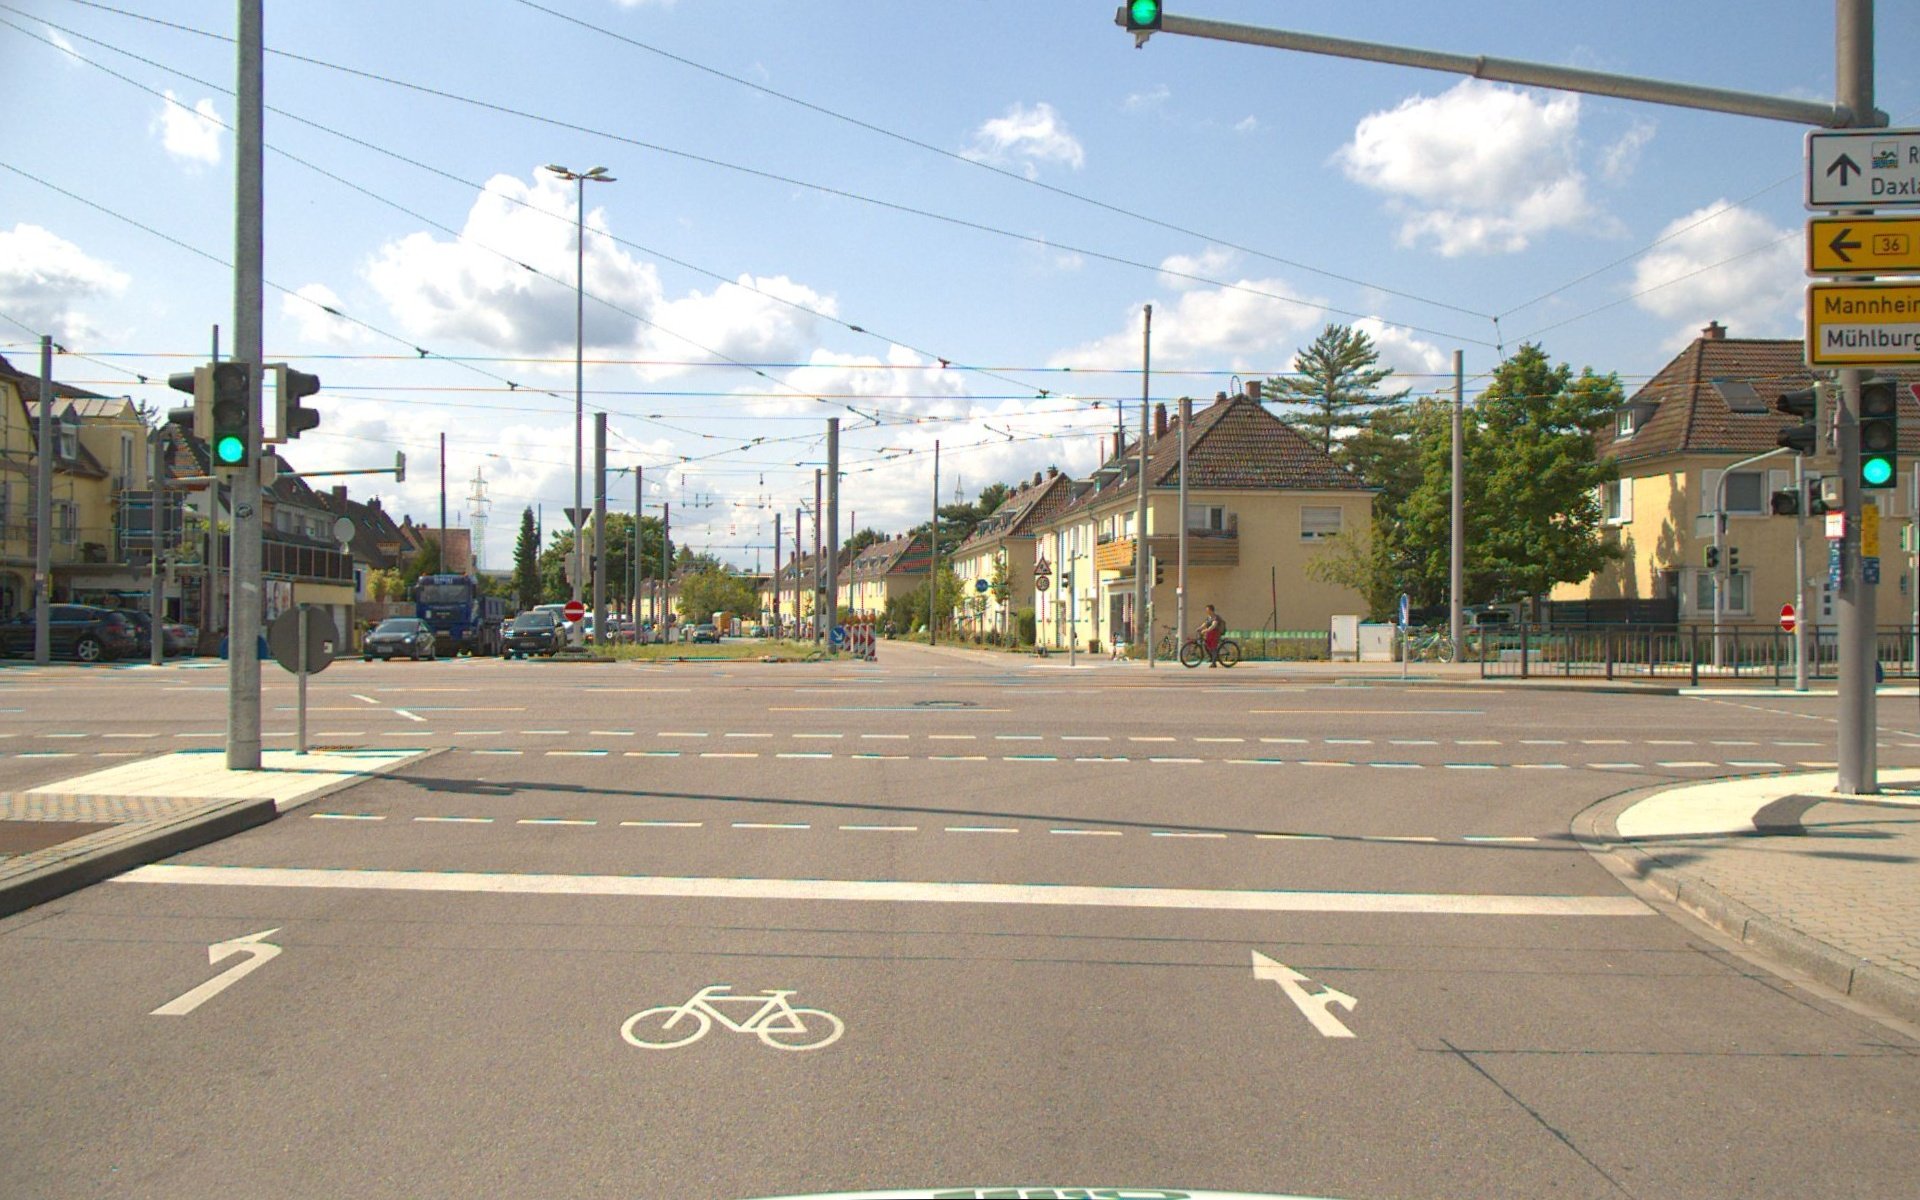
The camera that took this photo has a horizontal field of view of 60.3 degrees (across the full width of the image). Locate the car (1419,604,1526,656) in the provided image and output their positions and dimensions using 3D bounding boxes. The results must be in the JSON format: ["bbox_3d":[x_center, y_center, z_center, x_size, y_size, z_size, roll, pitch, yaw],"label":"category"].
[{"bbox_3d":[17.052,1.040,55.225,1.789,1.649,3.990,0,-2,-10],"label":"car"}]

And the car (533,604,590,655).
[{"bbox_3d":[-15.795,1.174,65.668,1.780,1.955,4.738,0,-1,-9],"label":"car"}]

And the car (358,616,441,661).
[{"bbox_3d":[-19.497,1.329,57.715,1.792,1.513,4.328,0,-1,-6],"label":"car"}]

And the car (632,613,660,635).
[{"bbox_3d":[-23.617,1.802,124.549,1.808,1.589,4.180,0,-1,-7],"label":"car"}]

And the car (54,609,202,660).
[{"bbox_3d":[-27.375,1.128,54.529,4.058,1.519,1.432,2,-1,-9],"label":"car"}]

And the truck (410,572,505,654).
[{"bbox_3d":[-20.928,0.593,69.303,2.717,3.244,7.566,0,-1,-9],"label":"truck"}]

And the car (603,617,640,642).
[{"bbox_3d":[-20.562,1.794,100.640,1.808,1.520,4.848,0,-1,-7],"label":"car"}]

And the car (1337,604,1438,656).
[{"bbox_3d":[14.291,1.040,55.548,1.789,1.649,3.990,0,-2,-10],"label":"car"}]

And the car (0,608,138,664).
[{"bbox_3d":[-26.822,1.059,49.150,4.058,1.519,1.177,2,-1,-9],"label":"car"}]

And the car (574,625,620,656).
[{"bbox_3d":[-17.628,1.946,80.446,1.879,1.444,3.992,0,-1,-9],"label":"car"}]

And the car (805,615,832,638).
[{"bbox_3d":[-13.448,2.536,156.983,2.028,2.187,4.866,0,-1,-10],"label":"car"}]

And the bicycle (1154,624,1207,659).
[{"bbox_3d":[7.304,1.370,54.852,0.586,1.116,2.258,1,-1,-26],"label":"bicycle"}]

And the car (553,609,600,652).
[{"bbox_3d":[-17.022,1.345,73.518,1.700,1.813,4.396,0,-1,-9],"label":"car"}]

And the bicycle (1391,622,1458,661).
[{"bbox_3d":[13.600,1.199,48.470,1.773,1.124,0.699,-1,-1,39],"label":"bicycle"}]

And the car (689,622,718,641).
[{"bbox_3d":[-22.044,2.694,142.195,1.782,1.579,4.000,0,0,0],"label":"car"}]

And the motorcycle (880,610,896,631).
[{"bbox_3d":[-5.720,1.640,131.843,1.046,1.664,2.079,0,-1,-9],"label":"motorcycle"}]

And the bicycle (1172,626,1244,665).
[{"bbox_3d":[7.112,1.299,47.401,2.001,1.121,0.710,0,-1,-25],"label":"bicycle"}]

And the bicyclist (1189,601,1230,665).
[{"bbox_3d":[7.147,0.938,47.423,0.944,1.806,0.714,0,-1,-24],"label":"bicyclist"}]

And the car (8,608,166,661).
[{"bbox_3d":[-27.303,1.070,51.819,4.058,1.519,1.504,2,-1,-9],"label":"car"}]

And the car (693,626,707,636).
[{"bbox_3d":[-35.949,4.292,228.914,1.241,1.451,2.645,0,-1,-24],"label":"car"}]

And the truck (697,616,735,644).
[{"bbox_3d":[-32.017,3.908,216.932,2.606,3.555,9.366,0,-1,-24],"label":"truck"}]

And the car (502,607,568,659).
[{"bbox_3d":[-15.176,1.149,59.262,1.752,1.751,4.434,0,0,-7],"label":"car"}]
